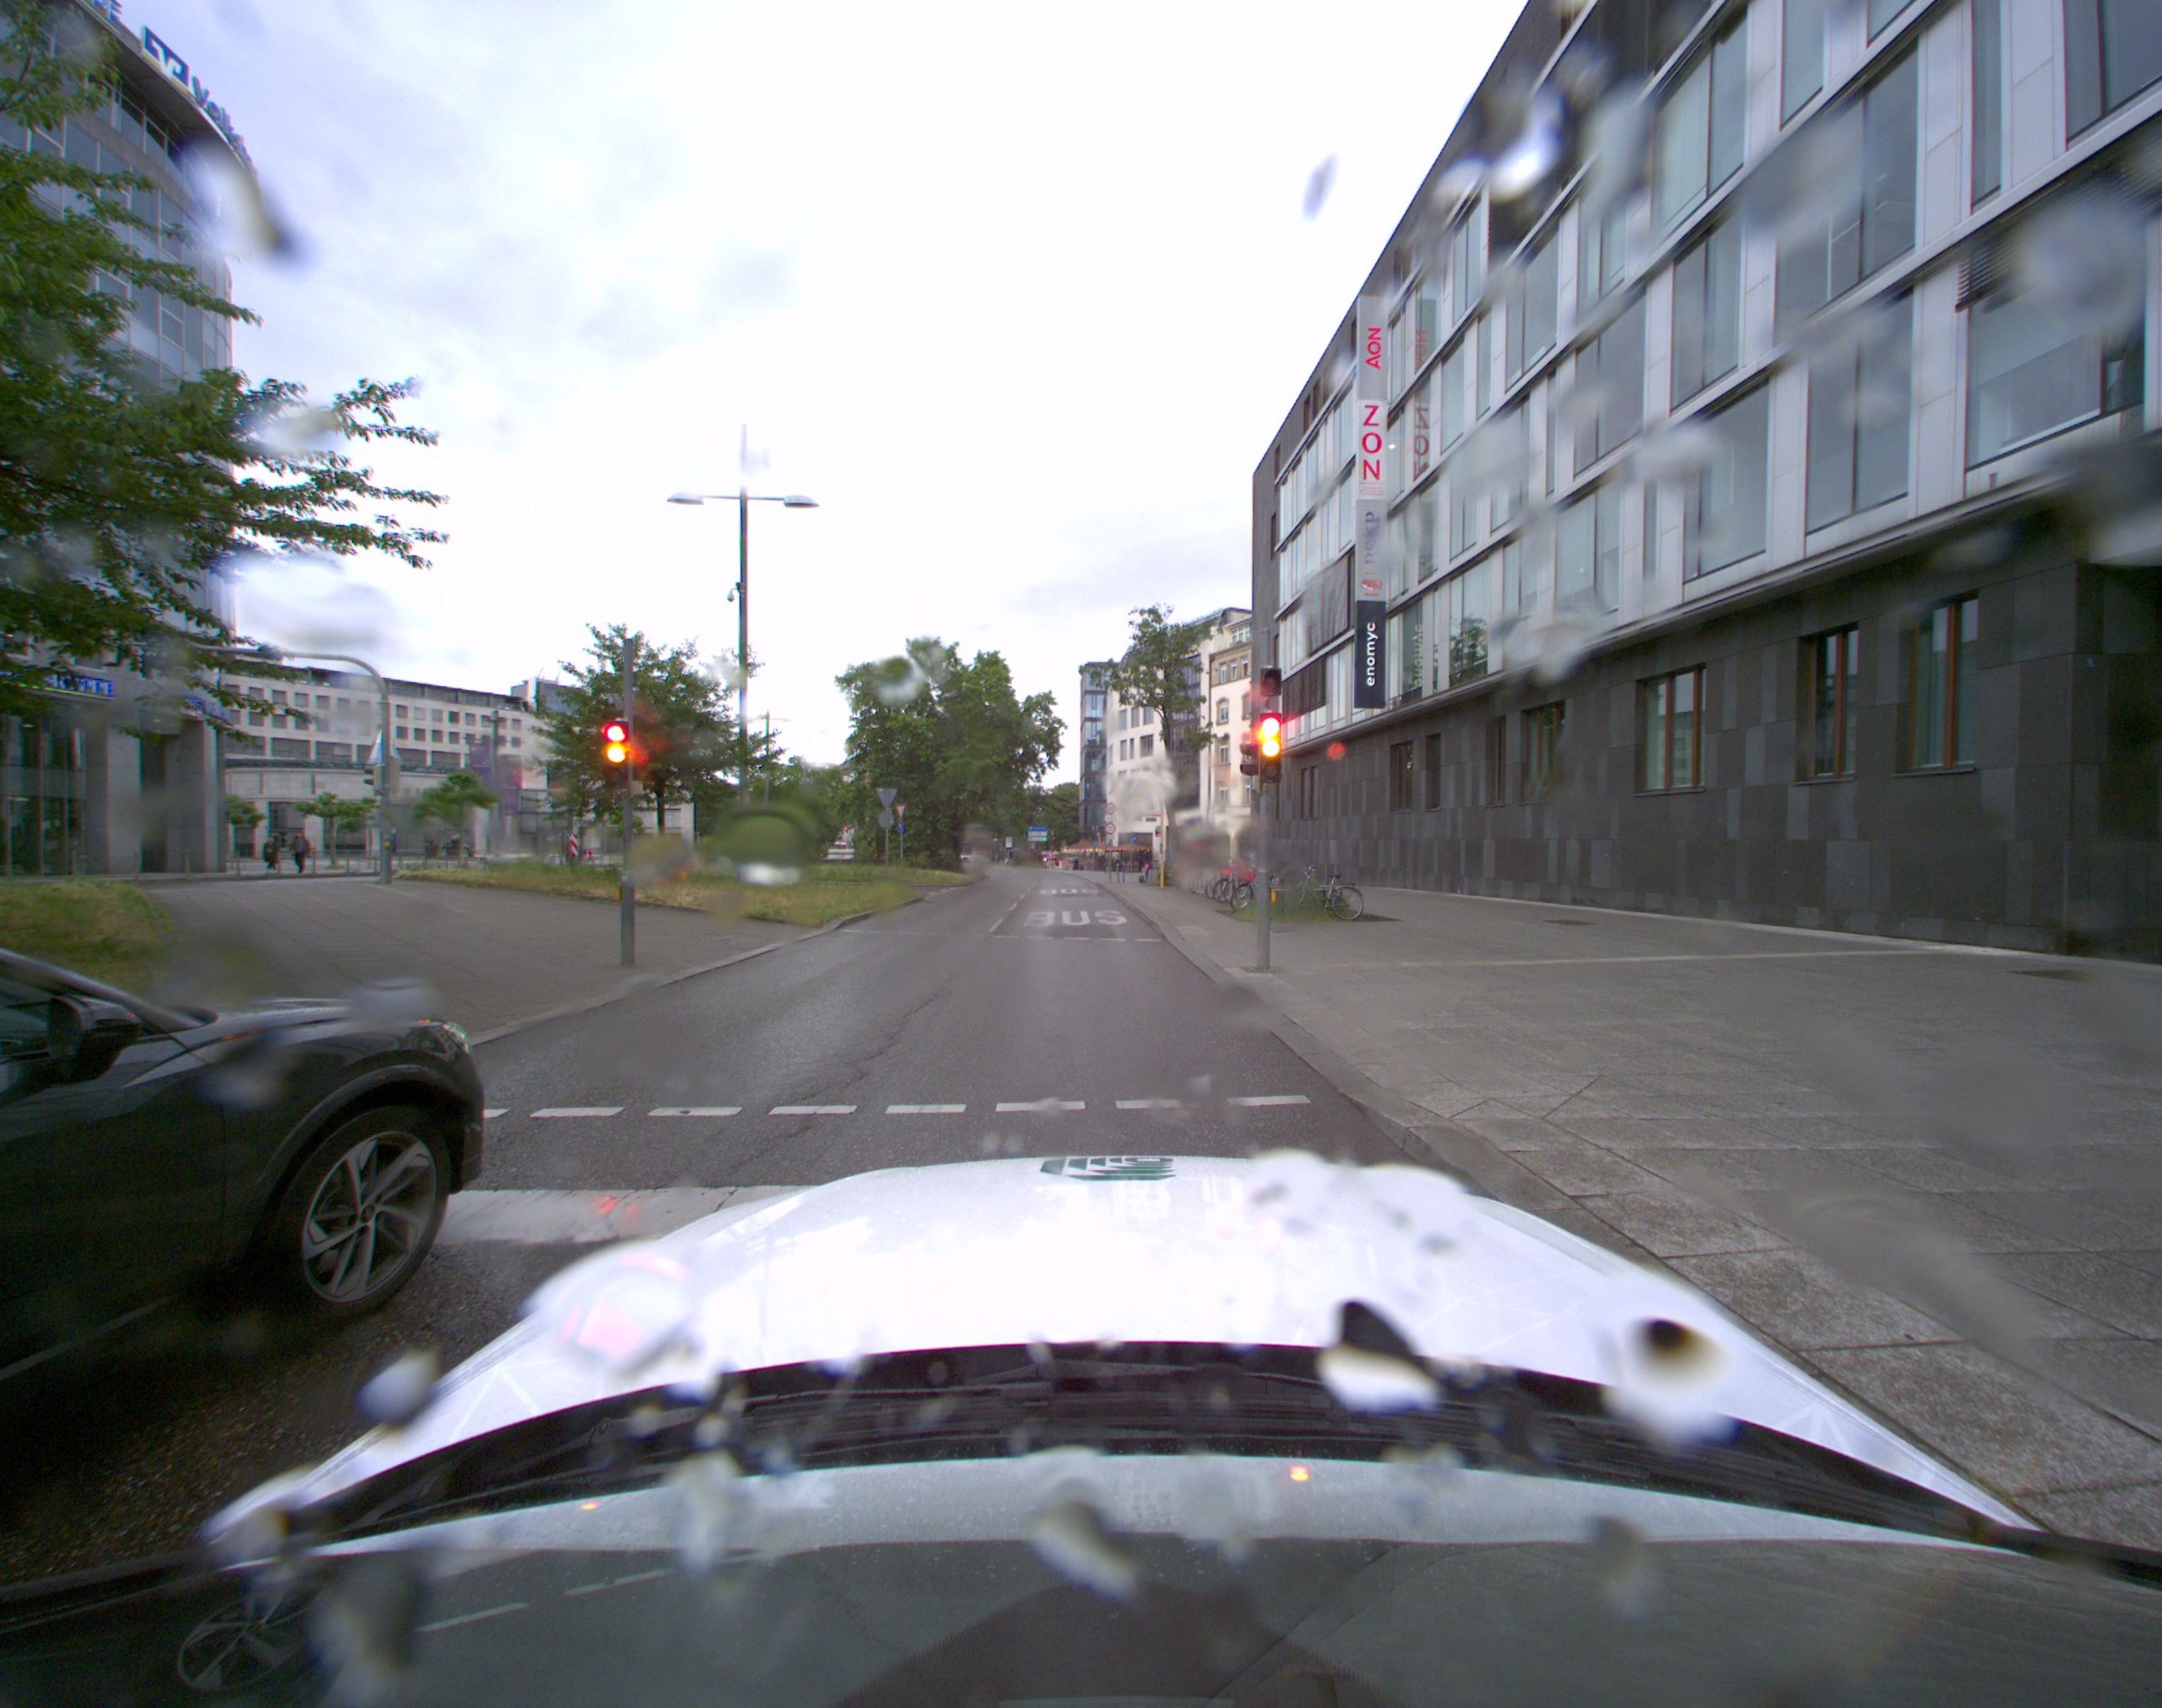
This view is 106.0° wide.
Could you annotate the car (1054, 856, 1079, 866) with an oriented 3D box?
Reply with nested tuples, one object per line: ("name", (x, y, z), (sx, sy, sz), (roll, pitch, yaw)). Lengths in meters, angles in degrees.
("car", (-2.356, 1.112, 132.086), (3.950, 1.510, 1.811), (2, 0, 43))

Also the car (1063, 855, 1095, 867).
("car", (-0.330, 1.126, 124.910), (4.723, 1.691, 2.003), (1, 0, -3))

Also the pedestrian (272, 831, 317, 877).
("pedestrian", (-35.061, 0.003, 36.305), (1.054, 2.014, 1.030), (0, -1, -15))

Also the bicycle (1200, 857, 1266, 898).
("bicycle", (4.361, 0.662, 23.383), (1.729, 1.140, 0.687), (-1, 0, -9))

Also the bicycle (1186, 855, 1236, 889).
("bicycle", (4.380, 0.596, 27.387), (1.533, 1.140, 0.687), (0, -1, -9))

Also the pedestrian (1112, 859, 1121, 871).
("pedestrian", (3.812, 1.173, 87.526), (0.630, 1.326, 0.630), (3, -1, -27))

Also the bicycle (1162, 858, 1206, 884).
("bicycle", (4.458, 0.755, 35.391), (1.792, 1.068, 0.555), (2, -1, -7))

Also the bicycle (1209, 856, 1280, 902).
("bicycle", (4.366, 0.652, 21.752), (1.729, 1.183, 0.687), (-1, 0, -9))

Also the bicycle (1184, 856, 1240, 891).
("bicycle", (4.268, 0.642, 26.608), (1.705, 1.140, 0.687), (0, -1, -9))

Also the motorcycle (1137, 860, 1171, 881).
("motorcycle", (4.077, 0.906, 45.528), (1.790, 1.140, 0.594), (2, -1, -8))

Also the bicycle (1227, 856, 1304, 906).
("bicycle", (4.513, 0.650, 19.962), (1.729, 1.183, 0.687), (-1, 0, -9))

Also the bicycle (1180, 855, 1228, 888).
("bicycle", (4.239, 0.611, 28.155), (1.533, 1.140, 0.687), (0, -1, -9))

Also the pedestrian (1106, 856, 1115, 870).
("pedestrian", (2.963, 0.865, 80.964), (0.773, 1.326, 0.634), (3, -1, -7))

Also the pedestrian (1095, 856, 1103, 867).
("pedestrian", (2.137, 0.878, 96.401), (0.816, 1.326, 0.634), (3, -1, -6))

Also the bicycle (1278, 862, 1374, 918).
("bicycle", (4.945, 0.715, 16.465), (1.729, 1.070, 0.687), (-1, 0, -9))

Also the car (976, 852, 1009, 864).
("car", (-13.194, 0.570, 121.288), (4.723, 1.691, 2.003), (1, 0, -3))

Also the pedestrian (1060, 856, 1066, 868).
("pedestrian", (-2.116, 0.948, 94.110), (0.605, 1.326, 0.566), (3, -1, -6))

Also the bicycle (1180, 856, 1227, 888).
("bicycle", (4.373, 0.633, 29.010), (1.533, 1.140, 0.660), (0, -1, -9))

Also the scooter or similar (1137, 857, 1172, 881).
("scooter or similar", (4.034, 0.840, 44.750), (1.790, 1.243, 0.594), (2, -1, -8))

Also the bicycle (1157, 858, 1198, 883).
("bicycle", (4.515, 0.788, 38.032), (1.793, 1.108, 0.668), (2, -1, -8))

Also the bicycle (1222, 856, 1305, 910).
("bicycle", (4.209, 0.656, 18.815), (1.729, 1.183, 0.687), (-1, 0, -9))

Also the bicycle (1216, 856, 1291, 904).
("bicycle", (4.394, 0.654, 20.775), (1.729, 1.183, 0.687), (-1, 0, -9))

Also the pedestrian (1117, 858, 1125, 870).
("pedestrian", (4.229, 1.060, 86.216), (0.630, 1.326, 0.630), (3, -1, -27))

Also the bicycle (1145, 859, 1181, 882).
("bicycle", (4.298, 0.865, 42.677), (1.793, 1.108, 0.668), (2, -1, -8))

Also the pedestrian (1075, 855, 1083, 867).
("pedestrian", (-0.247, 0.807, 96.071), (0.816, 1.326, 0.634), (3, -1, -6))

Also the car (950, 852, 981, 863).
("car", (-18.145, 0.606, 128.132), (4.304, 1.666, 1.959), (0, -1, 10))

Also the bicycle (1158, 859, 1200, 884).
("bicycle", (4.342, 0.773, 36.143), (1.792, 1.068, 0.555), (2, -1, -7))

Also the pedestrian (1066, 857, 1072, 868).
("pedestrian", (-1.414, 0.983, 94.168), (0.605, 1.326, 0.566), (3, -1, -6))

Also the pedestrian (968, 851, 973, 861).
("pedestrian", (-19.075, 0.334, 140.184), (0.719, 1.701, 0.619), (0, -1, 5))

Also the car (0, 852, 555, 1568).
("car", (-3.214, 0.755, 1.409), (1.856, 1.517, 4.342), (0, 0, -2))

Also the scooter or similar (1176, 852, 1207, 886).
("scooter or similar", (4.086, 0.565, 30.159), (1.105, 1.258, 0.301), (0, -1, -9))

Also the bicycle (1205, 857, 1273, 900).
("bicycle", (4.368, 0.666, 22.600), (1.729, 1.140, 0.687), (-1, 0, -9))

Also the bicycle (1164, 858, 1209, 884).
("bicycle", (4.447, 0.732, 34.487), (1.792, 1.068, 0.555), (2, -1, -7))

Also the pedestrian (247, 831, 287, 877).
("pedestrian", (-36.020, 0.008, 36.057), (0.851, 2.014, 1.030), (0, -1, -15))
